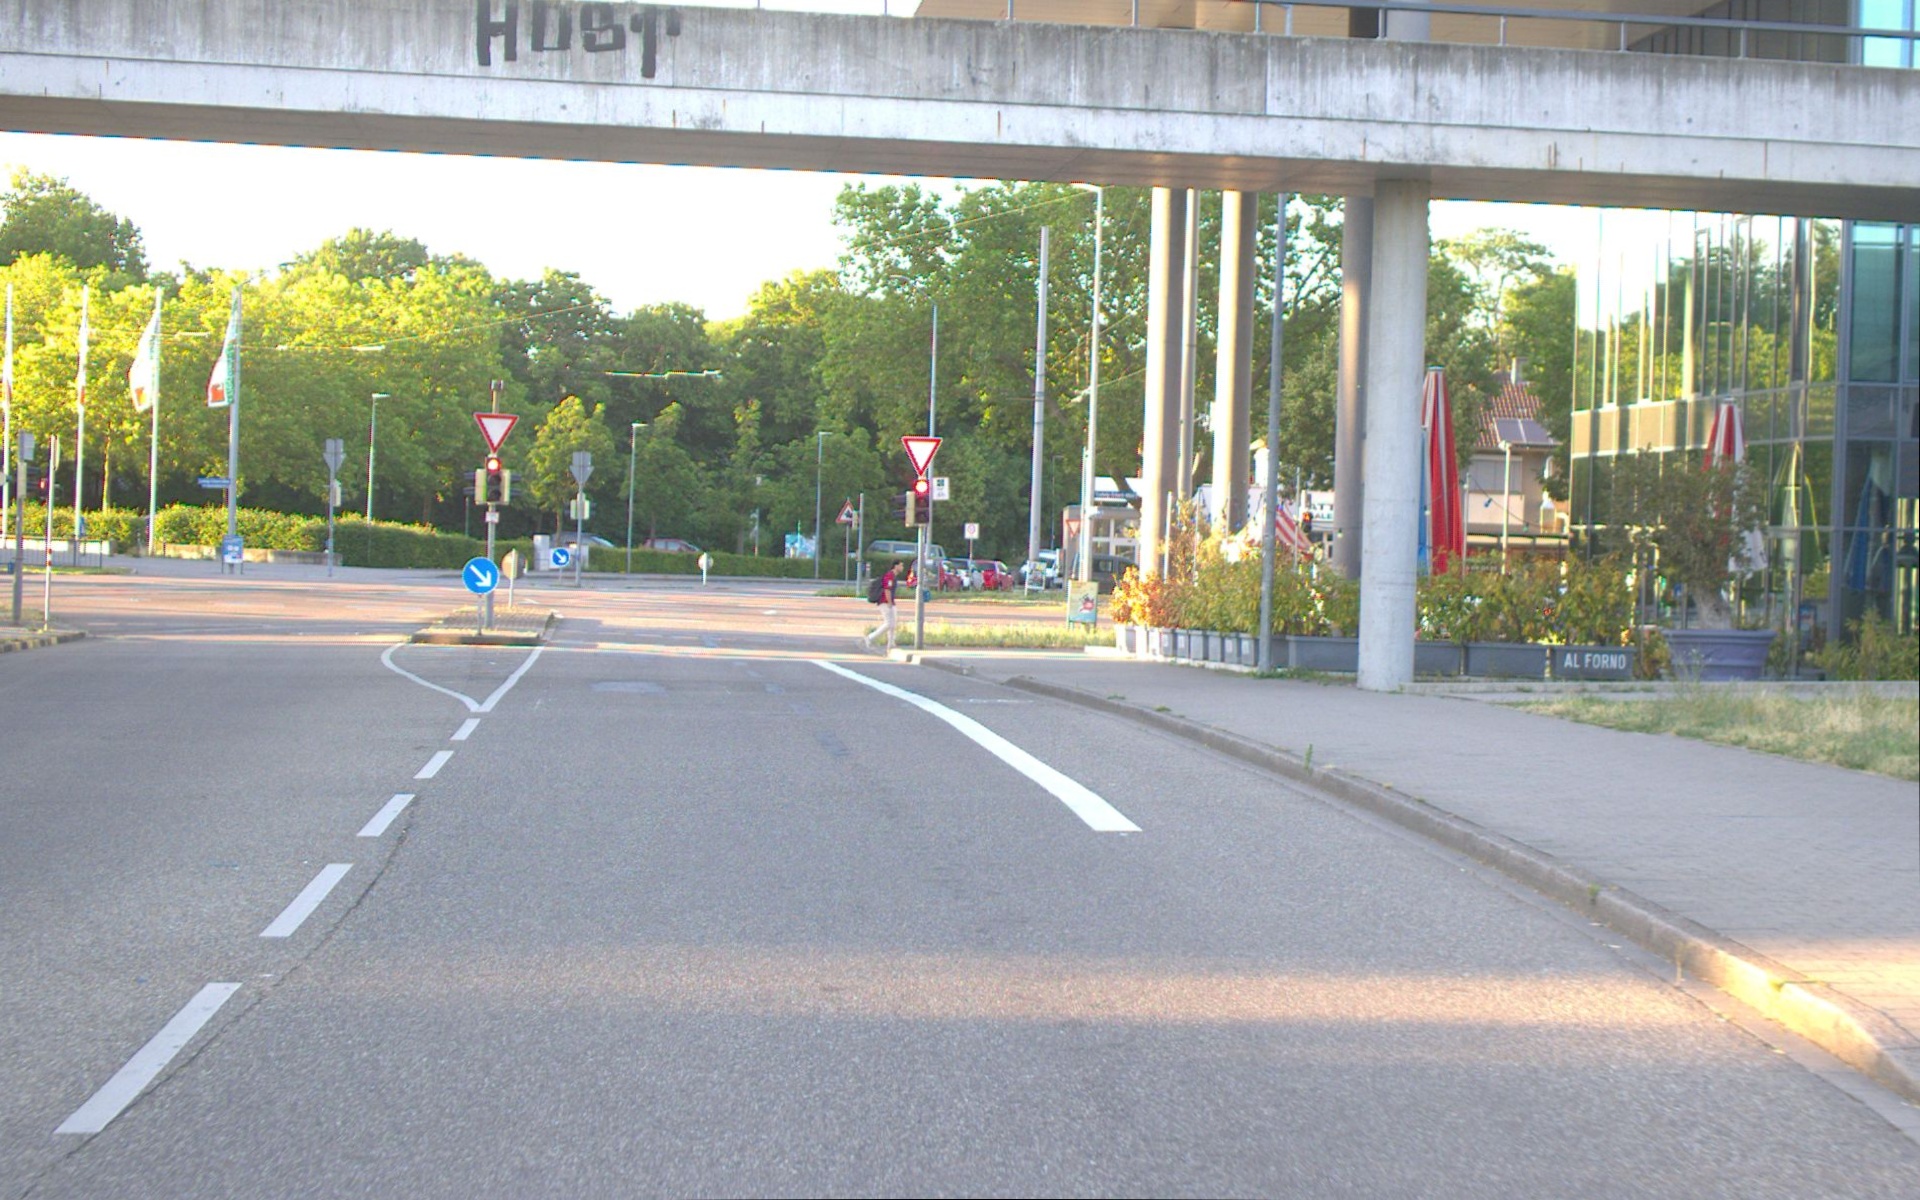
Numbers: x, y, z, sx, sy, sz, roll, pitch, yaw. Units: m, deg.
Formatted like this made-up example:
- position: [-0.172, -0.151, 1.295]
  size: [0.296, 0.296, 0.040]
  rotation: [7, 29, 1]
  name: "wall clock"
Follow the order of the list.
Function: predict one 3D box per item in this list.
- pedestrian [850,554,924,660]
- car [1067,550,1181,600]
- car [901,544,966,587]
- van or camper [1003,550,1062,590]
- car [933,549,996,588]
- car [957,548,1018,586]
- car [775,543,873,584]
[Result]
- position: [-1.313, 0.121, 61.540]
  size: [1.053, 1.827, 0.895]
  rotation: [1, 2, -18]
  name: "pedestrian"
- position: [6.604, -1.031, 138.619]
  size: [4.467, 1.810, 1.945]
  rotation: [2, 2, 1]
  name: "car"
- position: [-1.107, -1.468, 145.061]
  size: [1.499, 1.754, 3.399]
  rotation: [3, 2, 22]
  name: "car"
- position: [3.833, -1.598, 180.785]
  size: [1.627, 1.975, 3.801]
  rotation: [3, 2, 25]
  name: "van or camper"
- position: [0.201, -1.385, 148.958]
  size: [1.499, 1.600, 3.399]
  rotation: [3, 2, 22]
  name: "car"
- position: [1.221, -1.484, 152.371]
  size: [1.499, 1.600, 3.399]
  rotation: [3, 2, 22]
  name: "car"
- position: [-6.764, -1.831, 171.493]
  size: [4.684, 1.862, 2.013]
  rotation: [2, 2, 2]
  name: "car"
